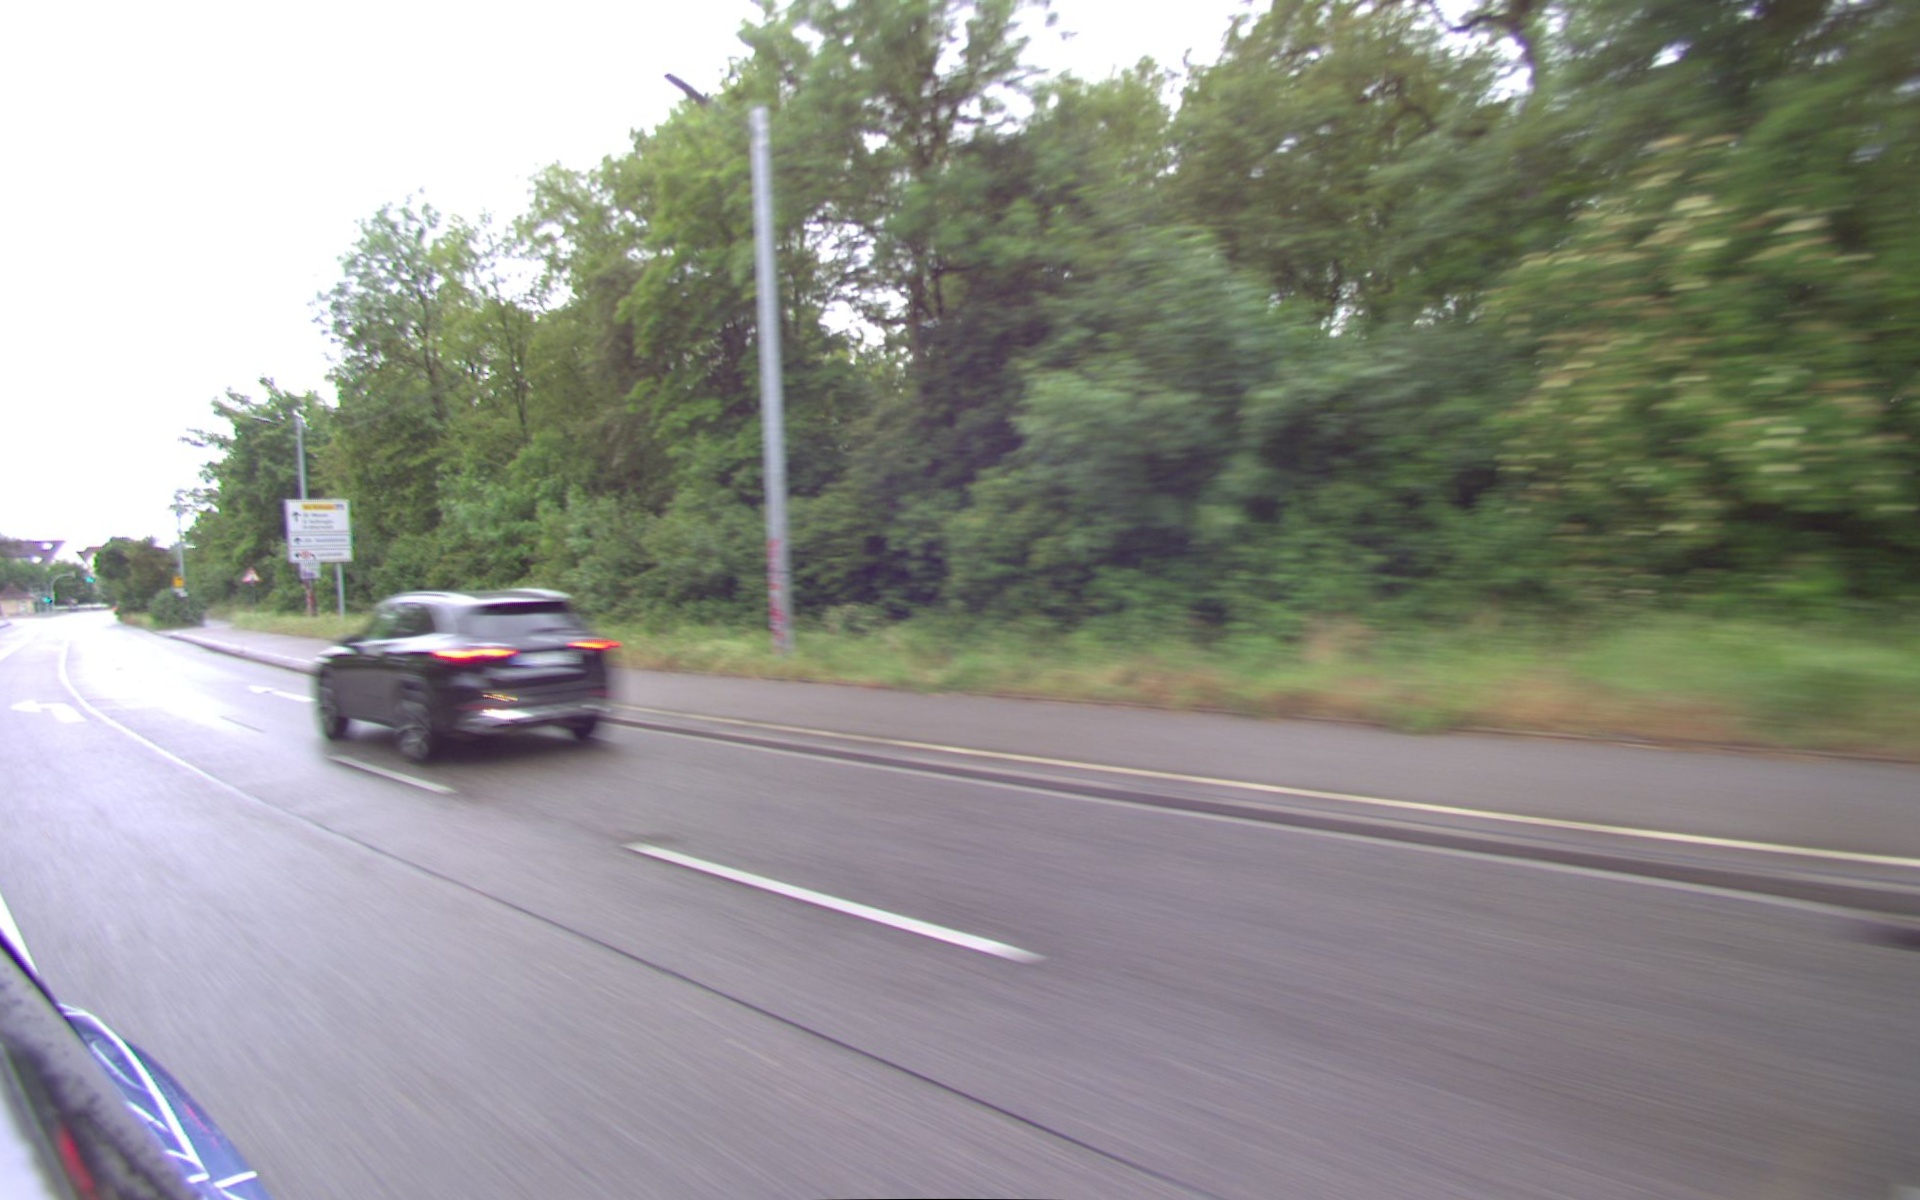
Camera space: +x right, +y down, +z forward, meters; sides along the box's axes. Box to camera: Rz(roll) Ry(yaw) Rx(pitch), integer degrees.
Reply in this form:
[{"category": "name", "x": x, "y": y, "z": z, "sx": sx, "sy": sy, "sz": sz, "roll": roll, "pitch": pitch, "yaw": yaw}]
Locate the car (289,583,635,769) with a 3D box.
[{"category": "car", "x": -5.556, "y": 0.694, "z": 11.006, "sx": 4.516, "sy": 1.607, "sz": 1.789, "roll": -1, "pitch": 0, "yaw": 42}]
